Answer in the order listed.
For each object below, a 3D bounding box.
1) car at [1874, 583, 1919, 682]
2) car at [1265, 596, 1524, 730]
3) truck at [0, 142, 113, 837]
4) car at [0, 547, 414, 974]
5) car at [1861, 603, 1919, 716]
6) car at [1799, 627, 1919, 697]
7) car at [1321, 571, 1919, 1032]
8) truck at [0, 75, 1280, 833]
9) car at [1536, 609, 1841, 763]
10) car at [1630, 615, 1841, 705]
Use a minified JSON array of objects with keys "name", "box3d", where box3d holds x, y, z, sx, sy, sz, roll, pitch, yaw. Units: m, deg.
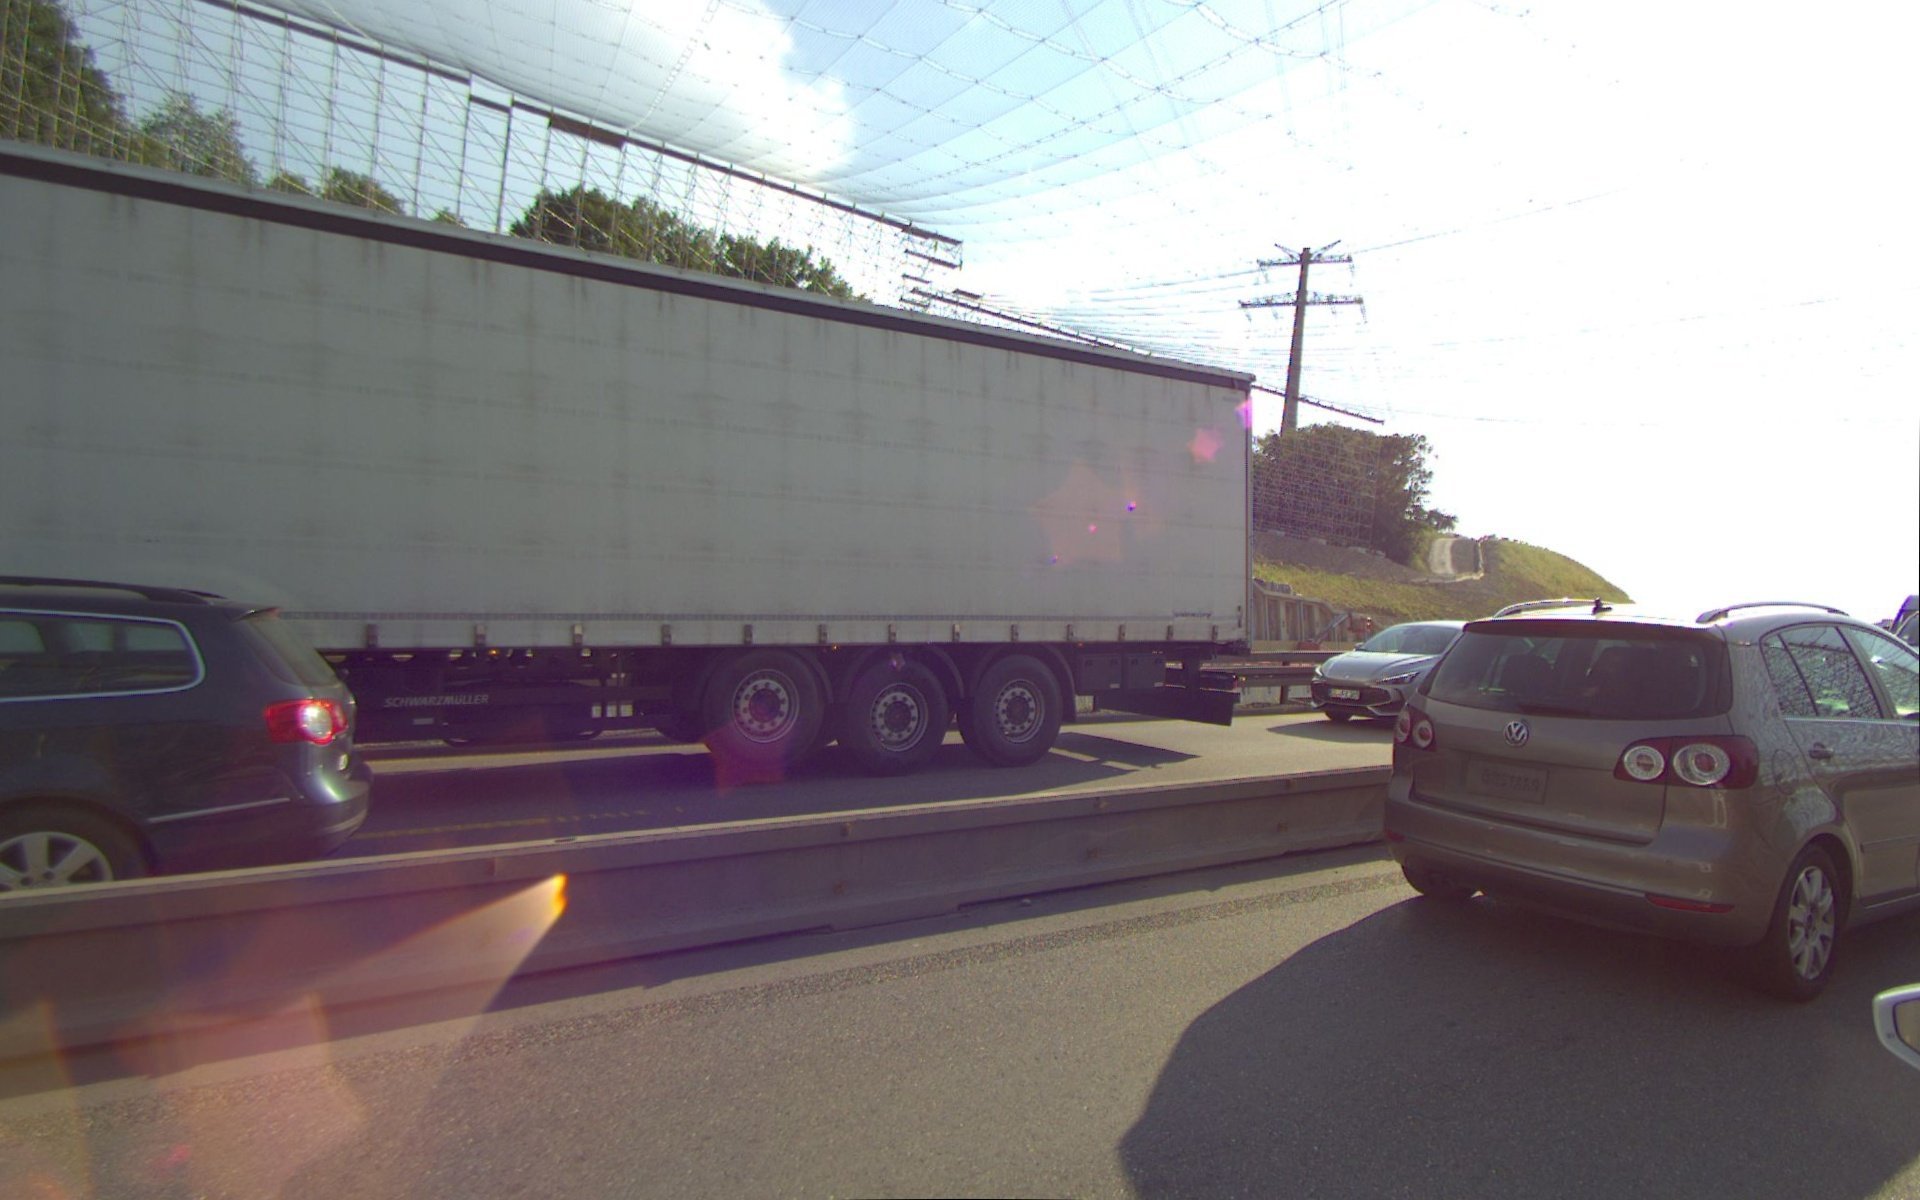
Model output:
[{"name":"car","box3d":[29.651,1.012,29.708,7.008,2.749,2.228,2,0,-34]},{"name":"car","box3d":[6.422,0.878,14.779,3.680,1.740,1.616,2,0,-30]},{"name":"truck","box3d":[-8.611,-0.709,5.231,5.980,3.960,2.503,2,0,-31]},{"name":"car","box3d":[-4.821,0.547,3.959,4.593,1.554,1.924,2,0,-32]},{"name":"car","box3d":[18.480,1.084,18.231,5.224,1.894,1.798,2,0,-32]},{"name":"car","box3d":[21.720,1.426,23.622,4.332,1.456,1.782,2,0,-32]},{"name":"car","box3d":[3.935,0.753,5.253,3.953,1.617,1.683,2,0,-30]},{"name":"truck","box3d":[-3.151,-0.732,8.677,14.007,4.283,2.707,2,0,-31]},{"name":"car","box3d":[8.951,0.962,12.247,4.172,1.572,1.573,2,0,-32]},{"name":"car","box3d":[15.559,1.154,20.078,4.855,1.560,1.782,2,0,-32]}]
